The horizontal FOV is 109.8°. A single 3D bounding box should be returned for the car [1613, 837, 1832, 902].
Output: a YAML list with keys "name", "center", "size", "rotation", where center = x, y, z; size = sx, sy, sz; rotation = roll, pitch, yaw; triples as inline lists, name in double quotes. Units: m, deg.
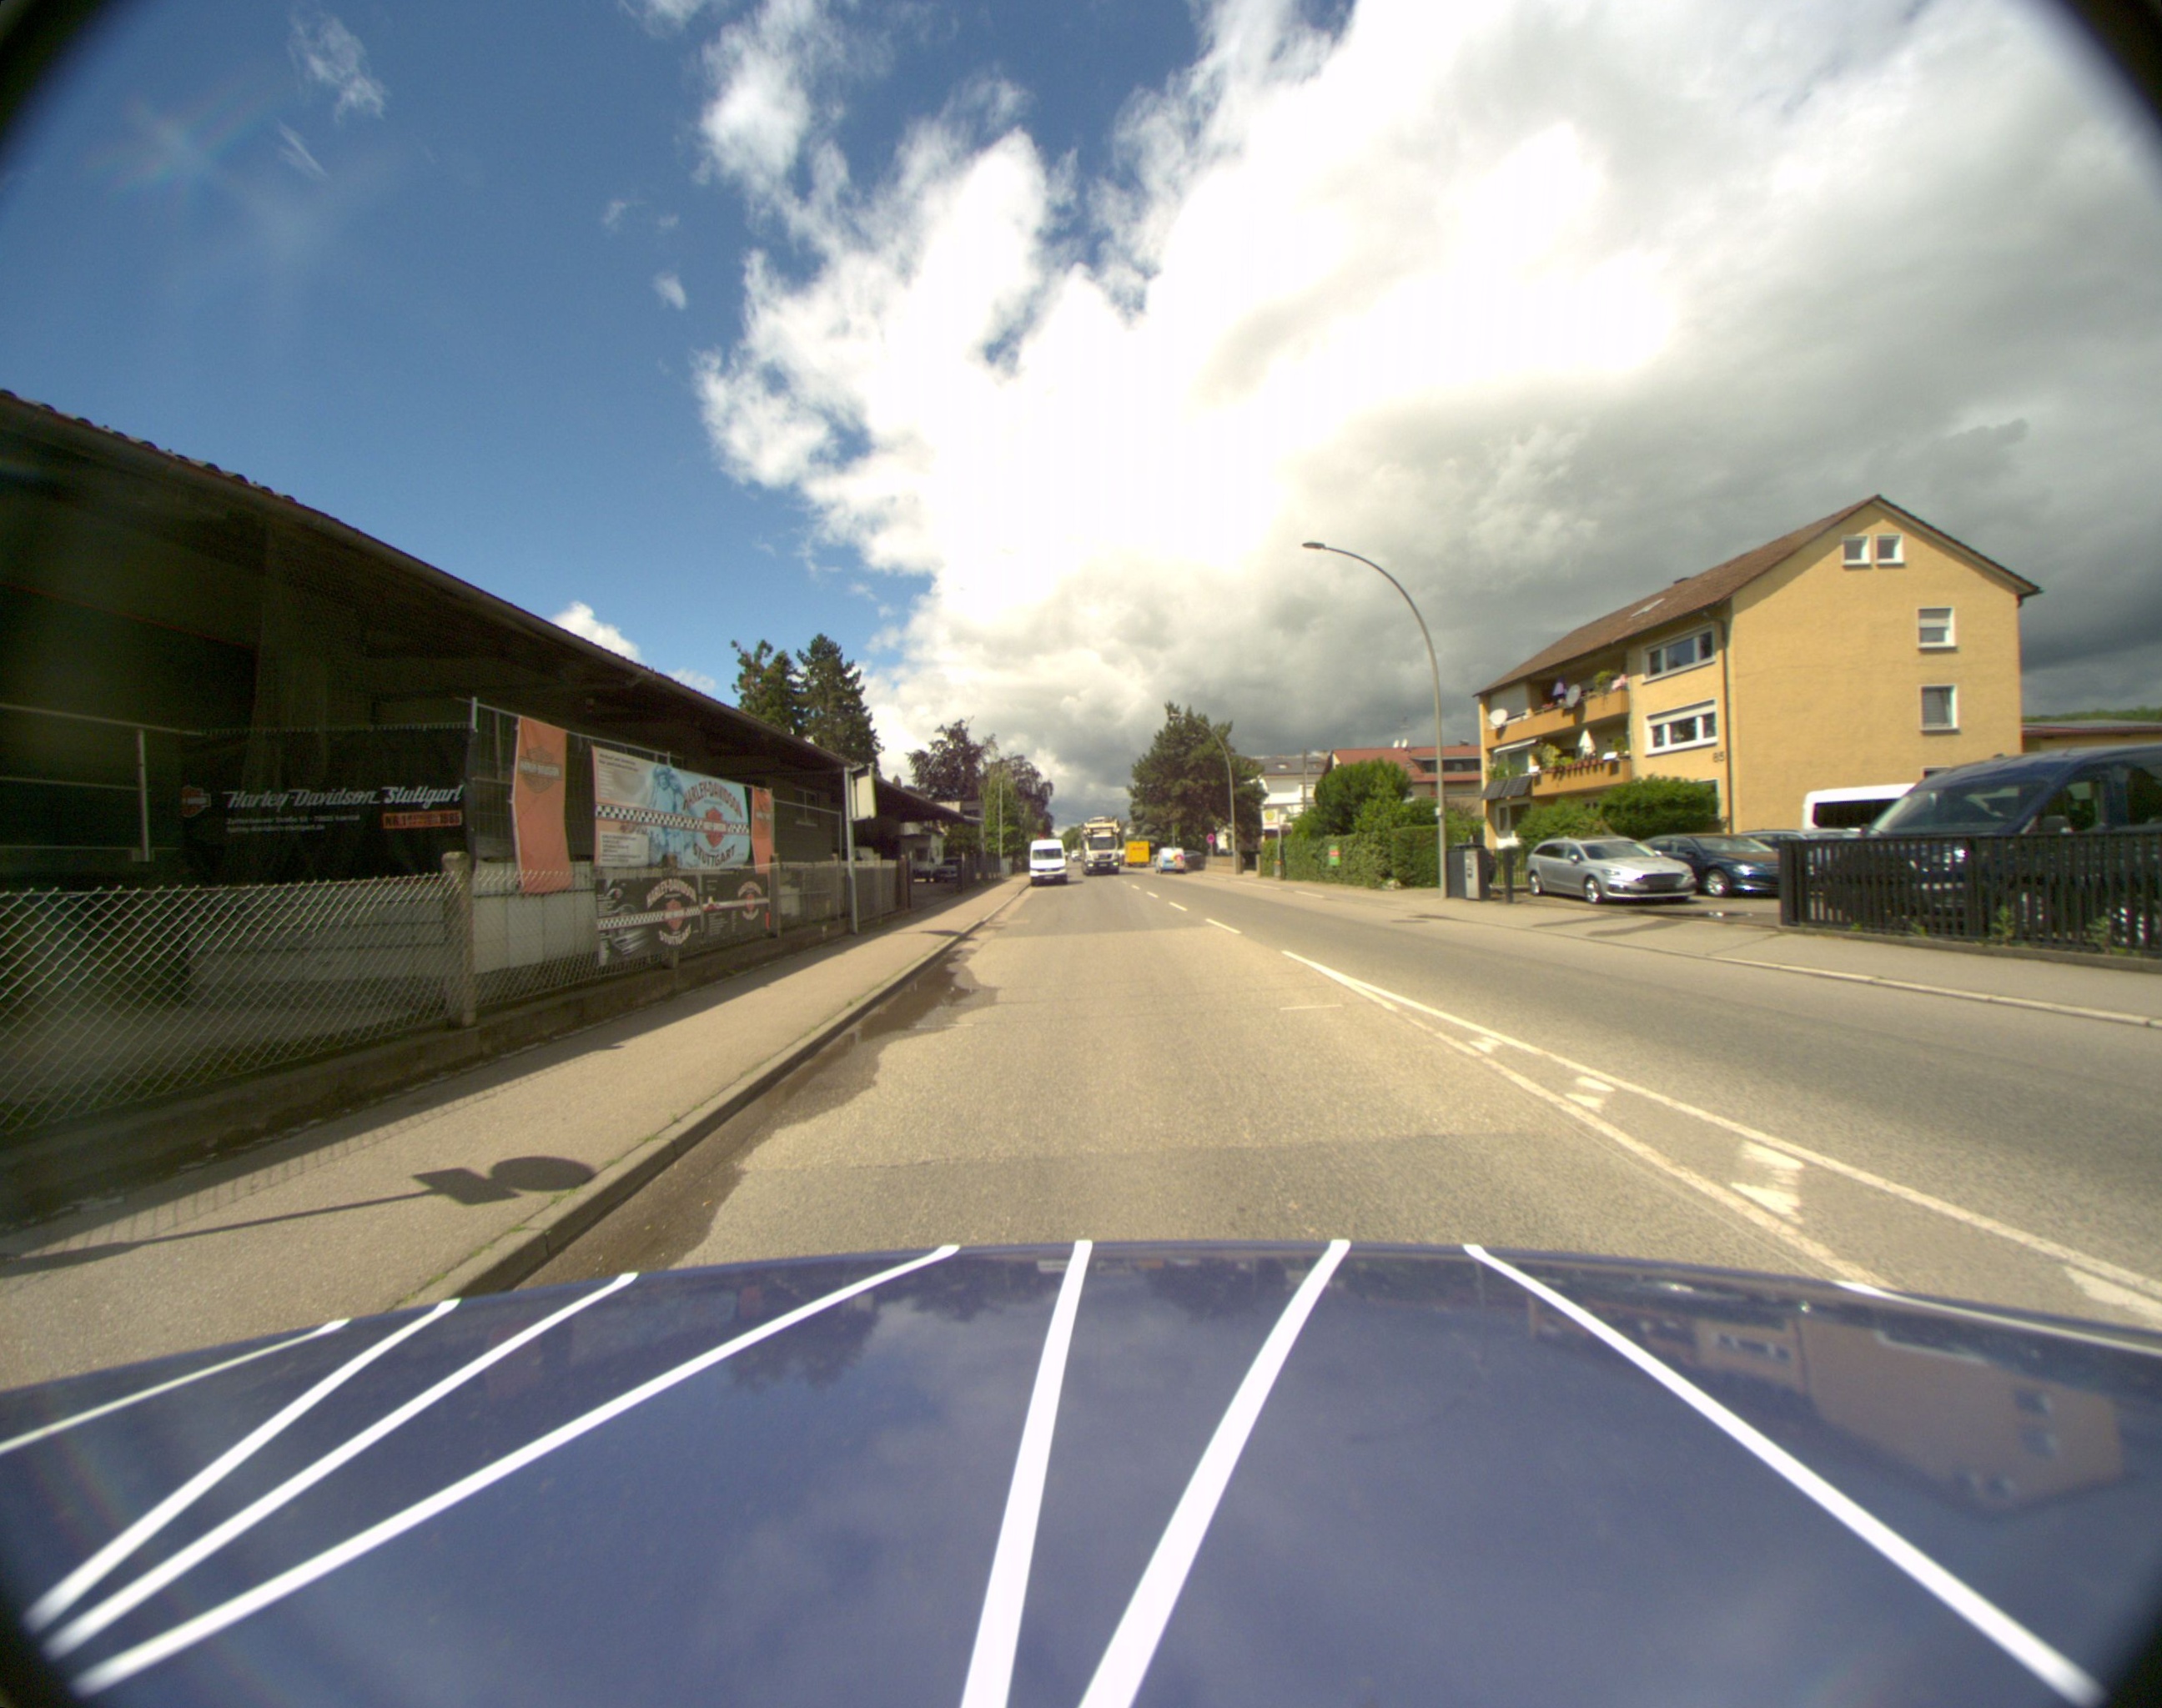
- name: "car"
  center: [15.097, 0.309, 18.213]
  size: [1.885, 1.334, 3.999]
  rotation: [-2, 1, 1]

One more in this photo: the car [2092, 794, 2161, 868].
- name: "car"
  center: [28.706, -0.617, 18.831]
  size: [1.998, 1.915, 3.999]
  rotation: [-2, 1, 1]

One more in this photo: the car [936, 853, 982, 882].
- name: "car"
  center: [-7.148, 0.738, 44.844]
  size: [1.863, 1.521, 5.202]
  rotation: [-2, 1, 0]

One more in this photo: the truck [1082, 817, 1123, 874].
- name: "truck"
  center: [1.528, -0.632, 56.981]
  size: [2.664, 3.789, 9.814]
  rotation: [-2, 1, 1]

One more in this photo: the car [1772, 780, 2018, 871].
- name: "car"
  center: [20.424, -0.681, 19.375]
  size: [1.998, 2.002, 3.999]
  rotation: [-2, 1, 1]

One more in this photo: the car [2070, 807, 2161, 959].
- name: "car"
  center: [12.347, 0.290, 6.981]
  size: [1.813, 1.612, 3.621]
  rotation: [-2, 1, 1]

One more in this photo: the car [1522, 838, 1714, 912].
- name: "car"
  center: [12.332, 0.402, 17.864]
  size: [1.887, 1.450, 4.352]
  rotation: [-3, 1, 8]

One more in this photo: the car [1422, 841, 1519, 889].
- name: "car"
  center: [14.621, 0.369, 28.744]
  size: [1.831, 1.656, 3.522]
  rotation: [-2, 1, 1]

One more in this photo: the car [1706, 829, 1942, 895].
- name: "car"
  center: [17.905, 0.154, 18.625]
  size: [1.883, 1.364, 3.999]
  rotation: [-2, 1, 1]

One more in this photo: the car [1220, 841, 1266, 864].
- name: "car"
  center: [15.284, -0.133, 71.858]
  size: [2.003, 2.002, 3.990]
  rotation: [-3, 1, -32]

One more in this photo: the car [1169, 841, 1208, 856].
- name: "car"
  center: [14.155, -0.727, 100.003]
  size: [4.735, 1.669, 2.218]
  rotation: [-2, 1, -1]

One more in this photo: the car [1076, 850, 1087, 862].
- name: "car"
  center: [0.084, 0.348, 154.327]
  size: [2.091, 2.310, 5.202]
  rotation: [-2, 1, 1]

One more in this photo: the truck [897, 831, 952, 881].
- name: "truck"
  center: [-9.483, 0.108, 46.407]
  size: [2.091, 2.812, 5.202]
  rotation: [-2, 1, 1]

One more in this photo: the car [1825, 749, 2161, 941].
- name: "car"
  center: [14.245, -0.175, 10.687]
  size: [5.363, 2.371, 2.104]
  rotation: [-2, 1, 2]

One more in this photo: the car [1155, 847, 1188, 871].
- name: "car"
  center: [6.552, 0.336, 55.160]
  size: [1.730, 1.671, 3.999]
  rotation: [-2, 1, -2]

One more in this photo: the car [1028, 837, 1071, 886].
- name: "car"
  center: [-1.712, 0.378, 43.200]
  size: [2.091, 2.519, 5.202]
  rotation: [-2, 1, 1]
